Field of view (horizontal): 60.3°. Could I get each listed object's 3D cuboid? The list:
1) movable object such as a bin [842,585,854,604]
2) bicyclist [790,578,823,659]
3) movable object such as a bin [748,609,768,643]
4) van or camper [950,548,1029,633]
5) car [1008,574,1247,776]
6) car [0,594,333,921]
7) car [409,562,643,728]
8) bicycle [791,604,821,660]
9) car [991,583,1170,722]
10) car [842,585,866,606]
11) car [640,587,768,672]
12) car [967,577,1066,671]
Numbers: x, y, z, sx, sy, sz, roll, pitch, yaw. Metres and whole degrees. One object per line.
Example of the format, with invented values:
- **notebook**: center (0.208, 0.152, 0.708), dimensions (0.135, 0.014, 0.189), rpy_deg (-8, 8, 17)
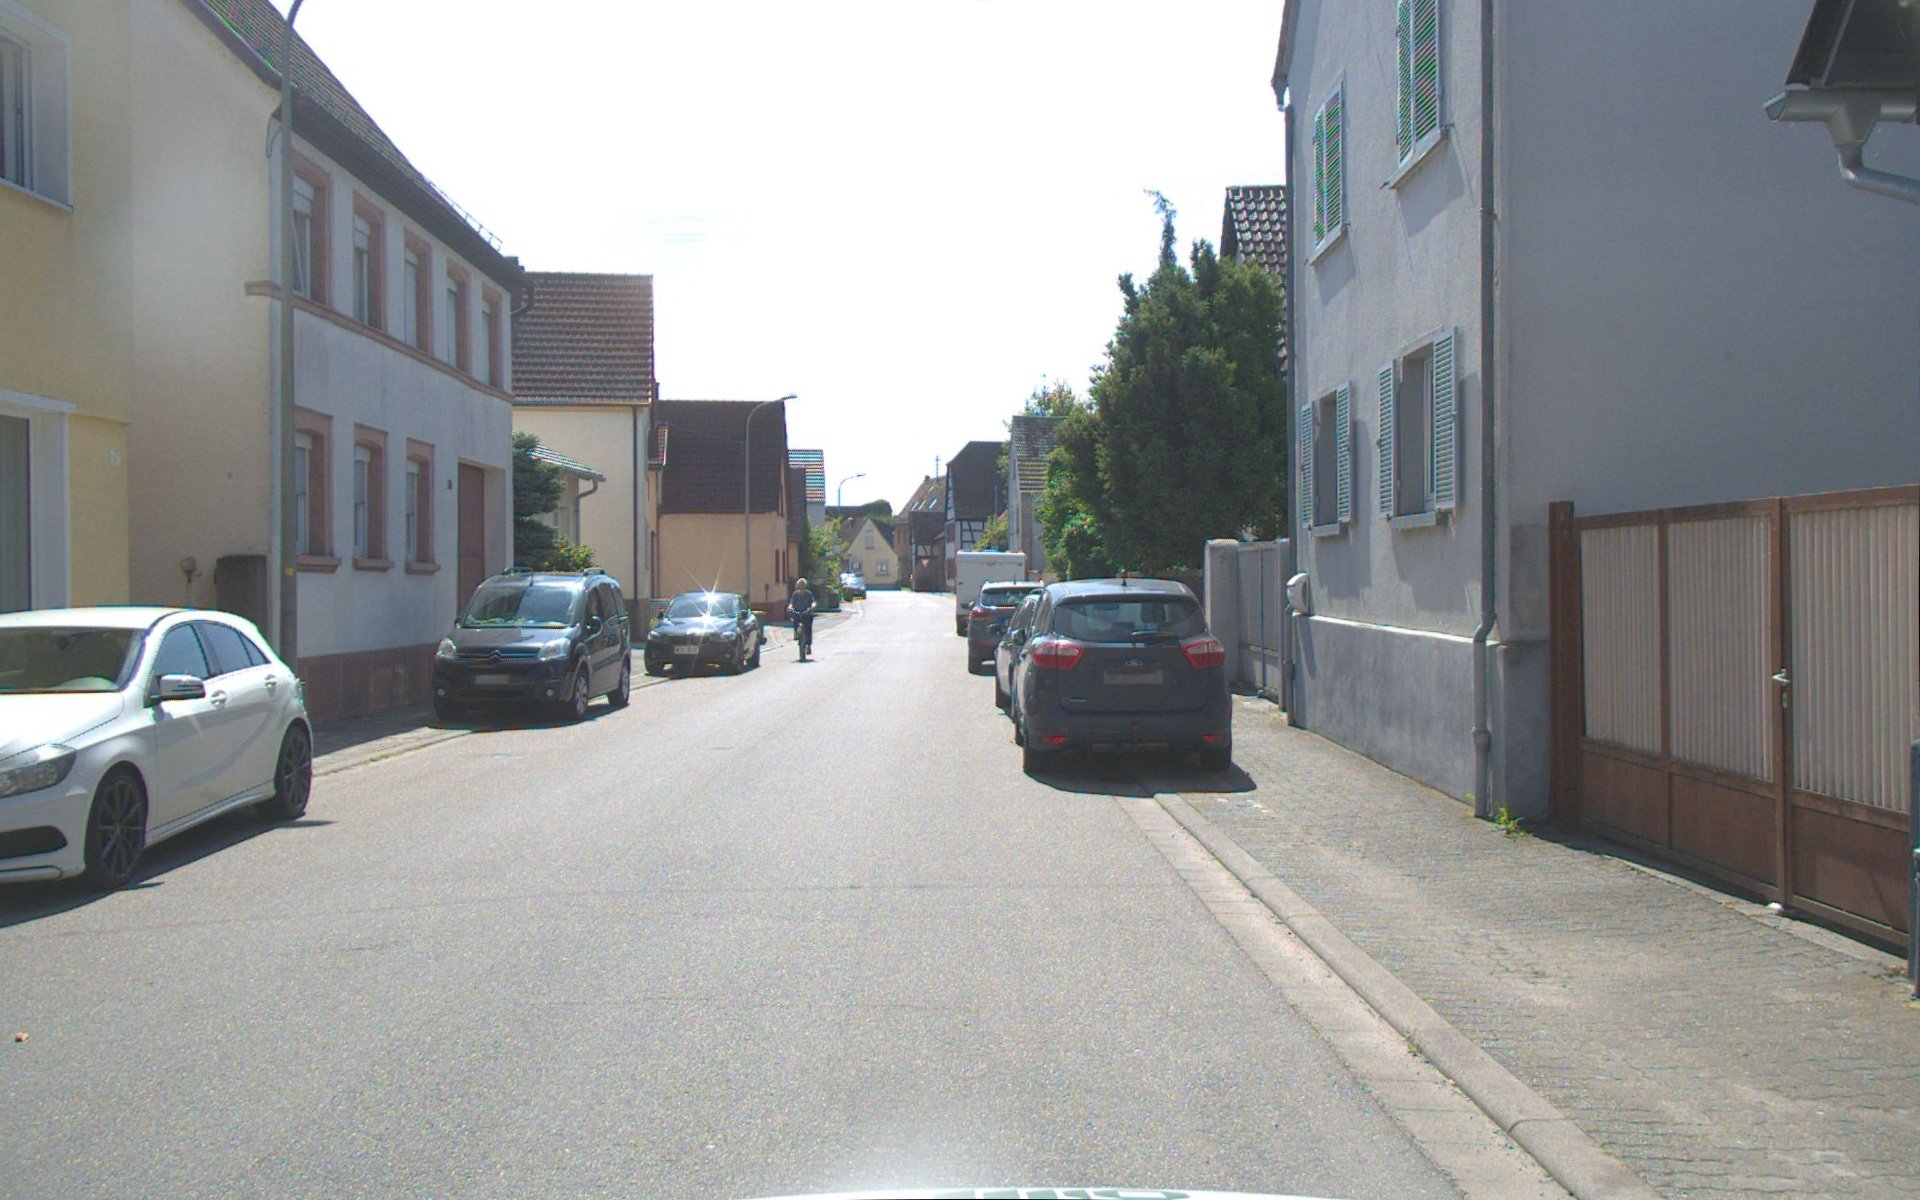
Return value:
- **movable object such as a bin**: center (-7.207, -0.357, 106.595), dimensions (0.674, 1.206, 0.714), rpy_deg (-1, 0, -1)
- **bicyclist**: center (-3.434, 0.403, 37.019), dimensions (0.690, 1.802, 0.624), rpy_deg (-1, 0, -4)
- **movable object such as a bin**: center (-5.873, 0.756, 48.061), dimensions (0.528, 0.966, 0.553), rpy_deg (1, 0, -1)
- **van or camper**: center (0.953, -0.333, 55.911), dimensions (2.471, 2.744, 4.554), rpy_deg (-1, 0, -1)
- **car**: center (1.398, 0.581, 15.481), dimensions (1.761, 1.587, 4.631), rpy_deg (-1, 0, 0)
- **car**: center (-5.296, 0.737, 9.725), dimensions (1.798, 1.489, 4.267), rpy_deg (-1, 1, -4)
- **car**: center (-5.403, 0.497, 21.181), dimensions (1.797, 1.869, 4.353), rpy_deg (-1, 1, 0)
- **bicycle**: center (-3.418, 0.690, 36.784), dimensions (0.577, 1.168, 1.947), rpy_deg (-1, 1, -4)
- **car**: center (1.396, 0.575, 20.809), dimensions (1.783, 1.535, 4.580), rpy_deg (-1, 0, -2)
- **car**: center (-7.538, -0.338, 118.067), dimensions (1.481, 1.461, 3.511), rpy_deg (-1, 1, -1)
- **car**: center (-5.019, 0.529, 33.070), dimensions (1.806, 1.553, 4.765), rpy_deg (0, 0, 0)
- **car**: center (1.125, 0.397, 31.951), dimensions (1.756, 1.659, 4.362), rpy_deg (-1, 1, 3)
